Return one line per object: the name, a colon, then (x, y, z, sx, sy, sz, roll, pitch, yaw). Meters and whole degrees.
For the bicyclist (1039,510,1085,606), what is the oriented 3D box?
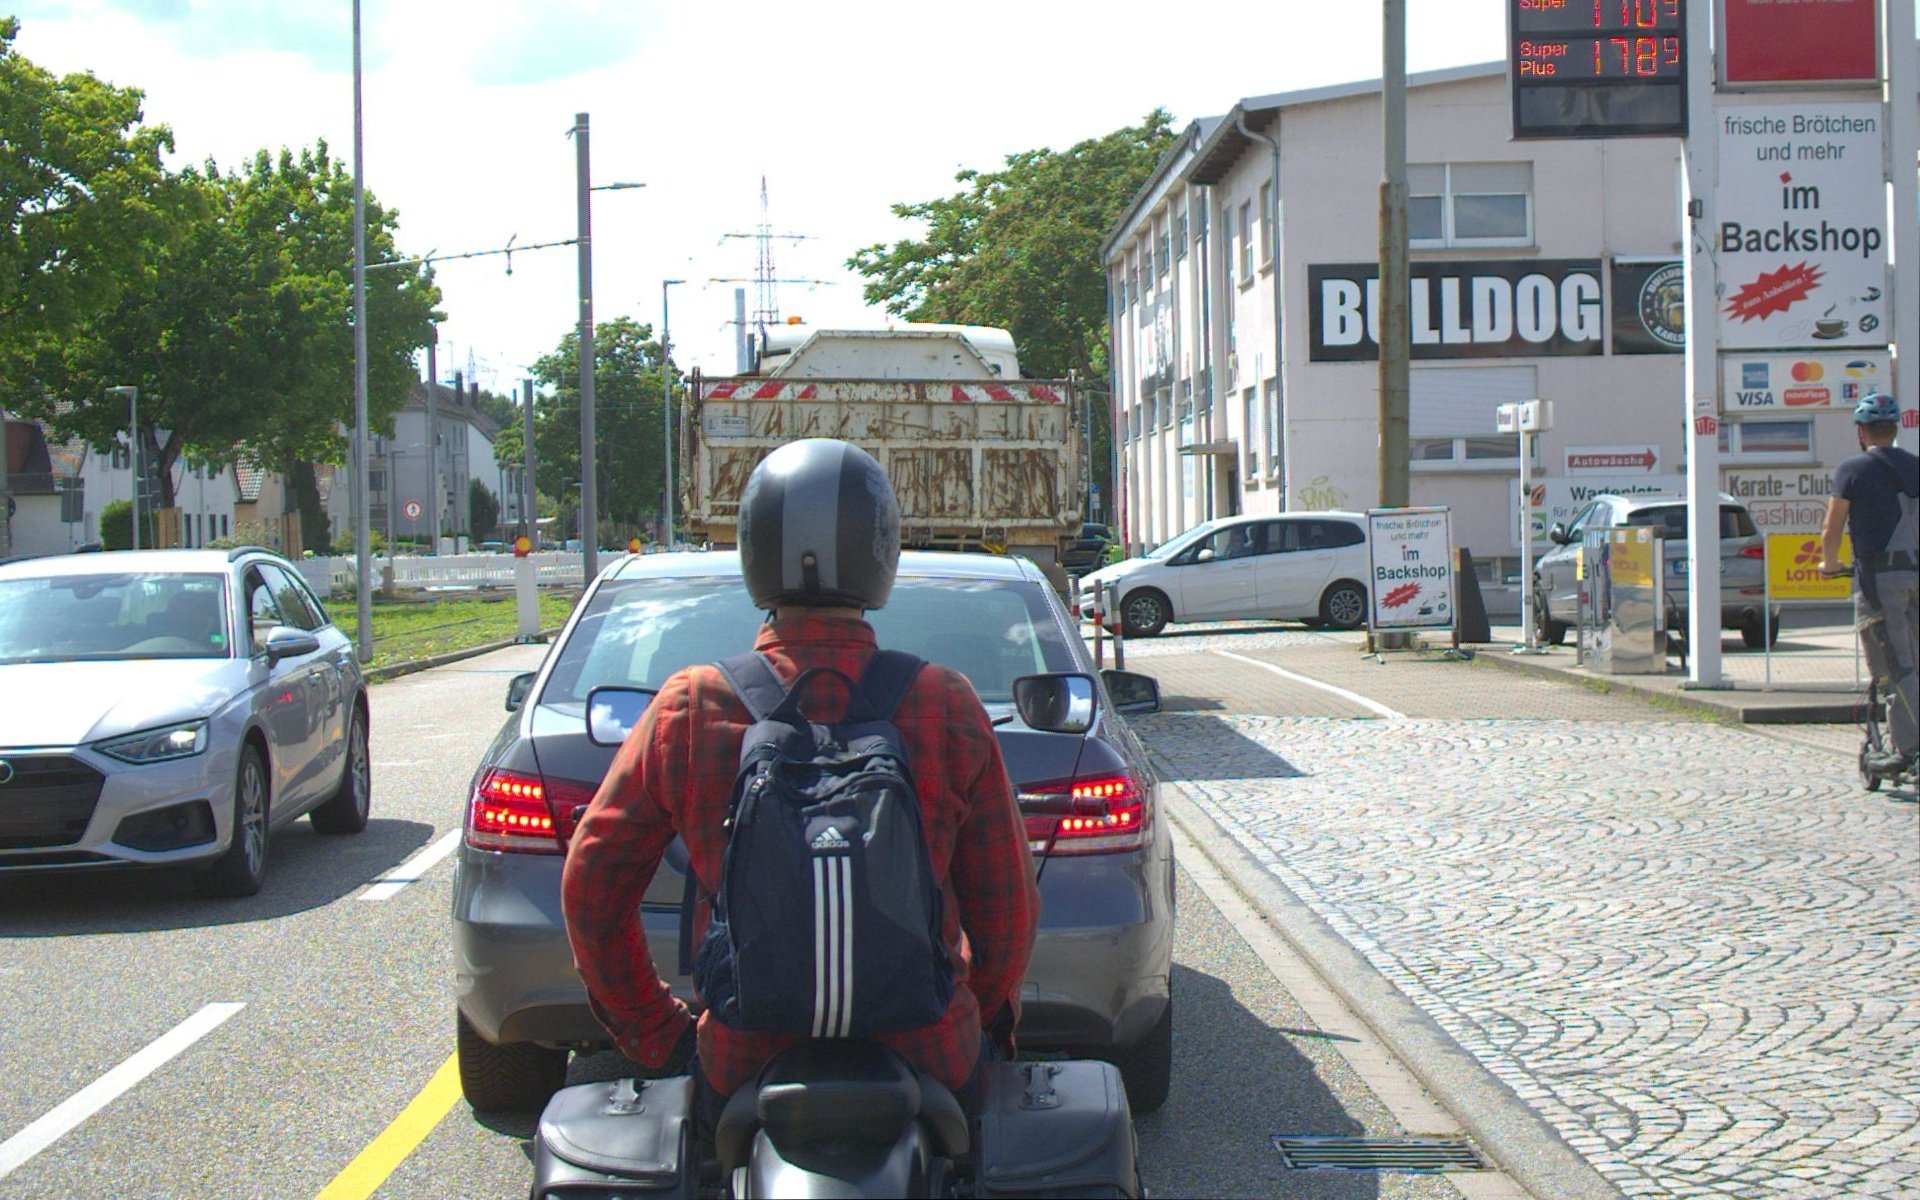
bicyclist: (1.872, -0.781, 63.253, 0.671, 1.738, 0.813, -1, 1, 13)

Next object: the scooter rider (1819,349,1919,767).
scooter rider: (4.619, -0.207, 16.548, 0.717, 1.956, 0.785, -1, 1, -1)

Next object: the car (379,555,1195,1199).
car: (-0.409, 0.610, 9.724, 1.821, 1.419, 4.000, 0, 1, -1)

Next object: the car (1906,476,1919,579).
car: (17.262, -1.215, 54.389, 3.987, 1.643, 1.966, -2, 1, -1)

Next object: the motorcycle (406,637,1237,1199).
motorcycle: (-0.180, 0.757, 5.251, 0.939, 1.316, 2.645, 1, 1, -1)

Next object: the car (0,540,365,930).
car: (-3.791, 0.495, 15.342, 1.654, 1.442, 4.304, -2, 1, -2)

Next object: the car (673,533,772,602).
car: (-5.073, -0.700, 73.907, 1.846, 1.382, 4.345, -2, 1, -1)

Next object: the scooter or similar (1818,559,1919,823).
scooter or similar: (4.615, 0.404, 16.489, 0.540, 1.191, 1.611, -2, 1, -1)

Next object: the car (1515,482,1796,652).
car: (7.309, -0.355, 36.538, 1.959, 1.643, 4.000, -2, 1, -3)

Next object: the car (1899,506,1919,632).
car: (11.814, -0.363, 37.273, 1.959, 1.415, 4.000, -2, 1, -3)

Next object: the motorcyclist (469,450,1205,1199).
motorcyclist: (-0.172, 0.608, 5.068, 0.939, 1.609, 1.205, 1, 1, -1)

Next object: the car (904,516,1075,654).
car: (0.312, -0.207, 38.916, 1.821, 1.459, 4.000, 0, 1, 0)

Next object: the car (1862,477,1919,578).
car: (17.224, -1.251, 56.935, 3.987, 1.643, 1.966, -2, 1, -1)

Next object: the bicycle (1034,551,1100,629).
bicycle: (1.989, -0.202, 63.418, 0.693, 1.357, 2.417, -1, 1, 14)

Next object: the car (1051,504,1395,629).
car: (3.580, -0.462, 47.195, 4.329, 1.546, 1.950, -2, 1, -8)

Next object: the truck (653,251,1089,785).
truck: (-0.560, -0.655, 26.040, 2.610, 3.244, 9.183, -2, 2, 0)
